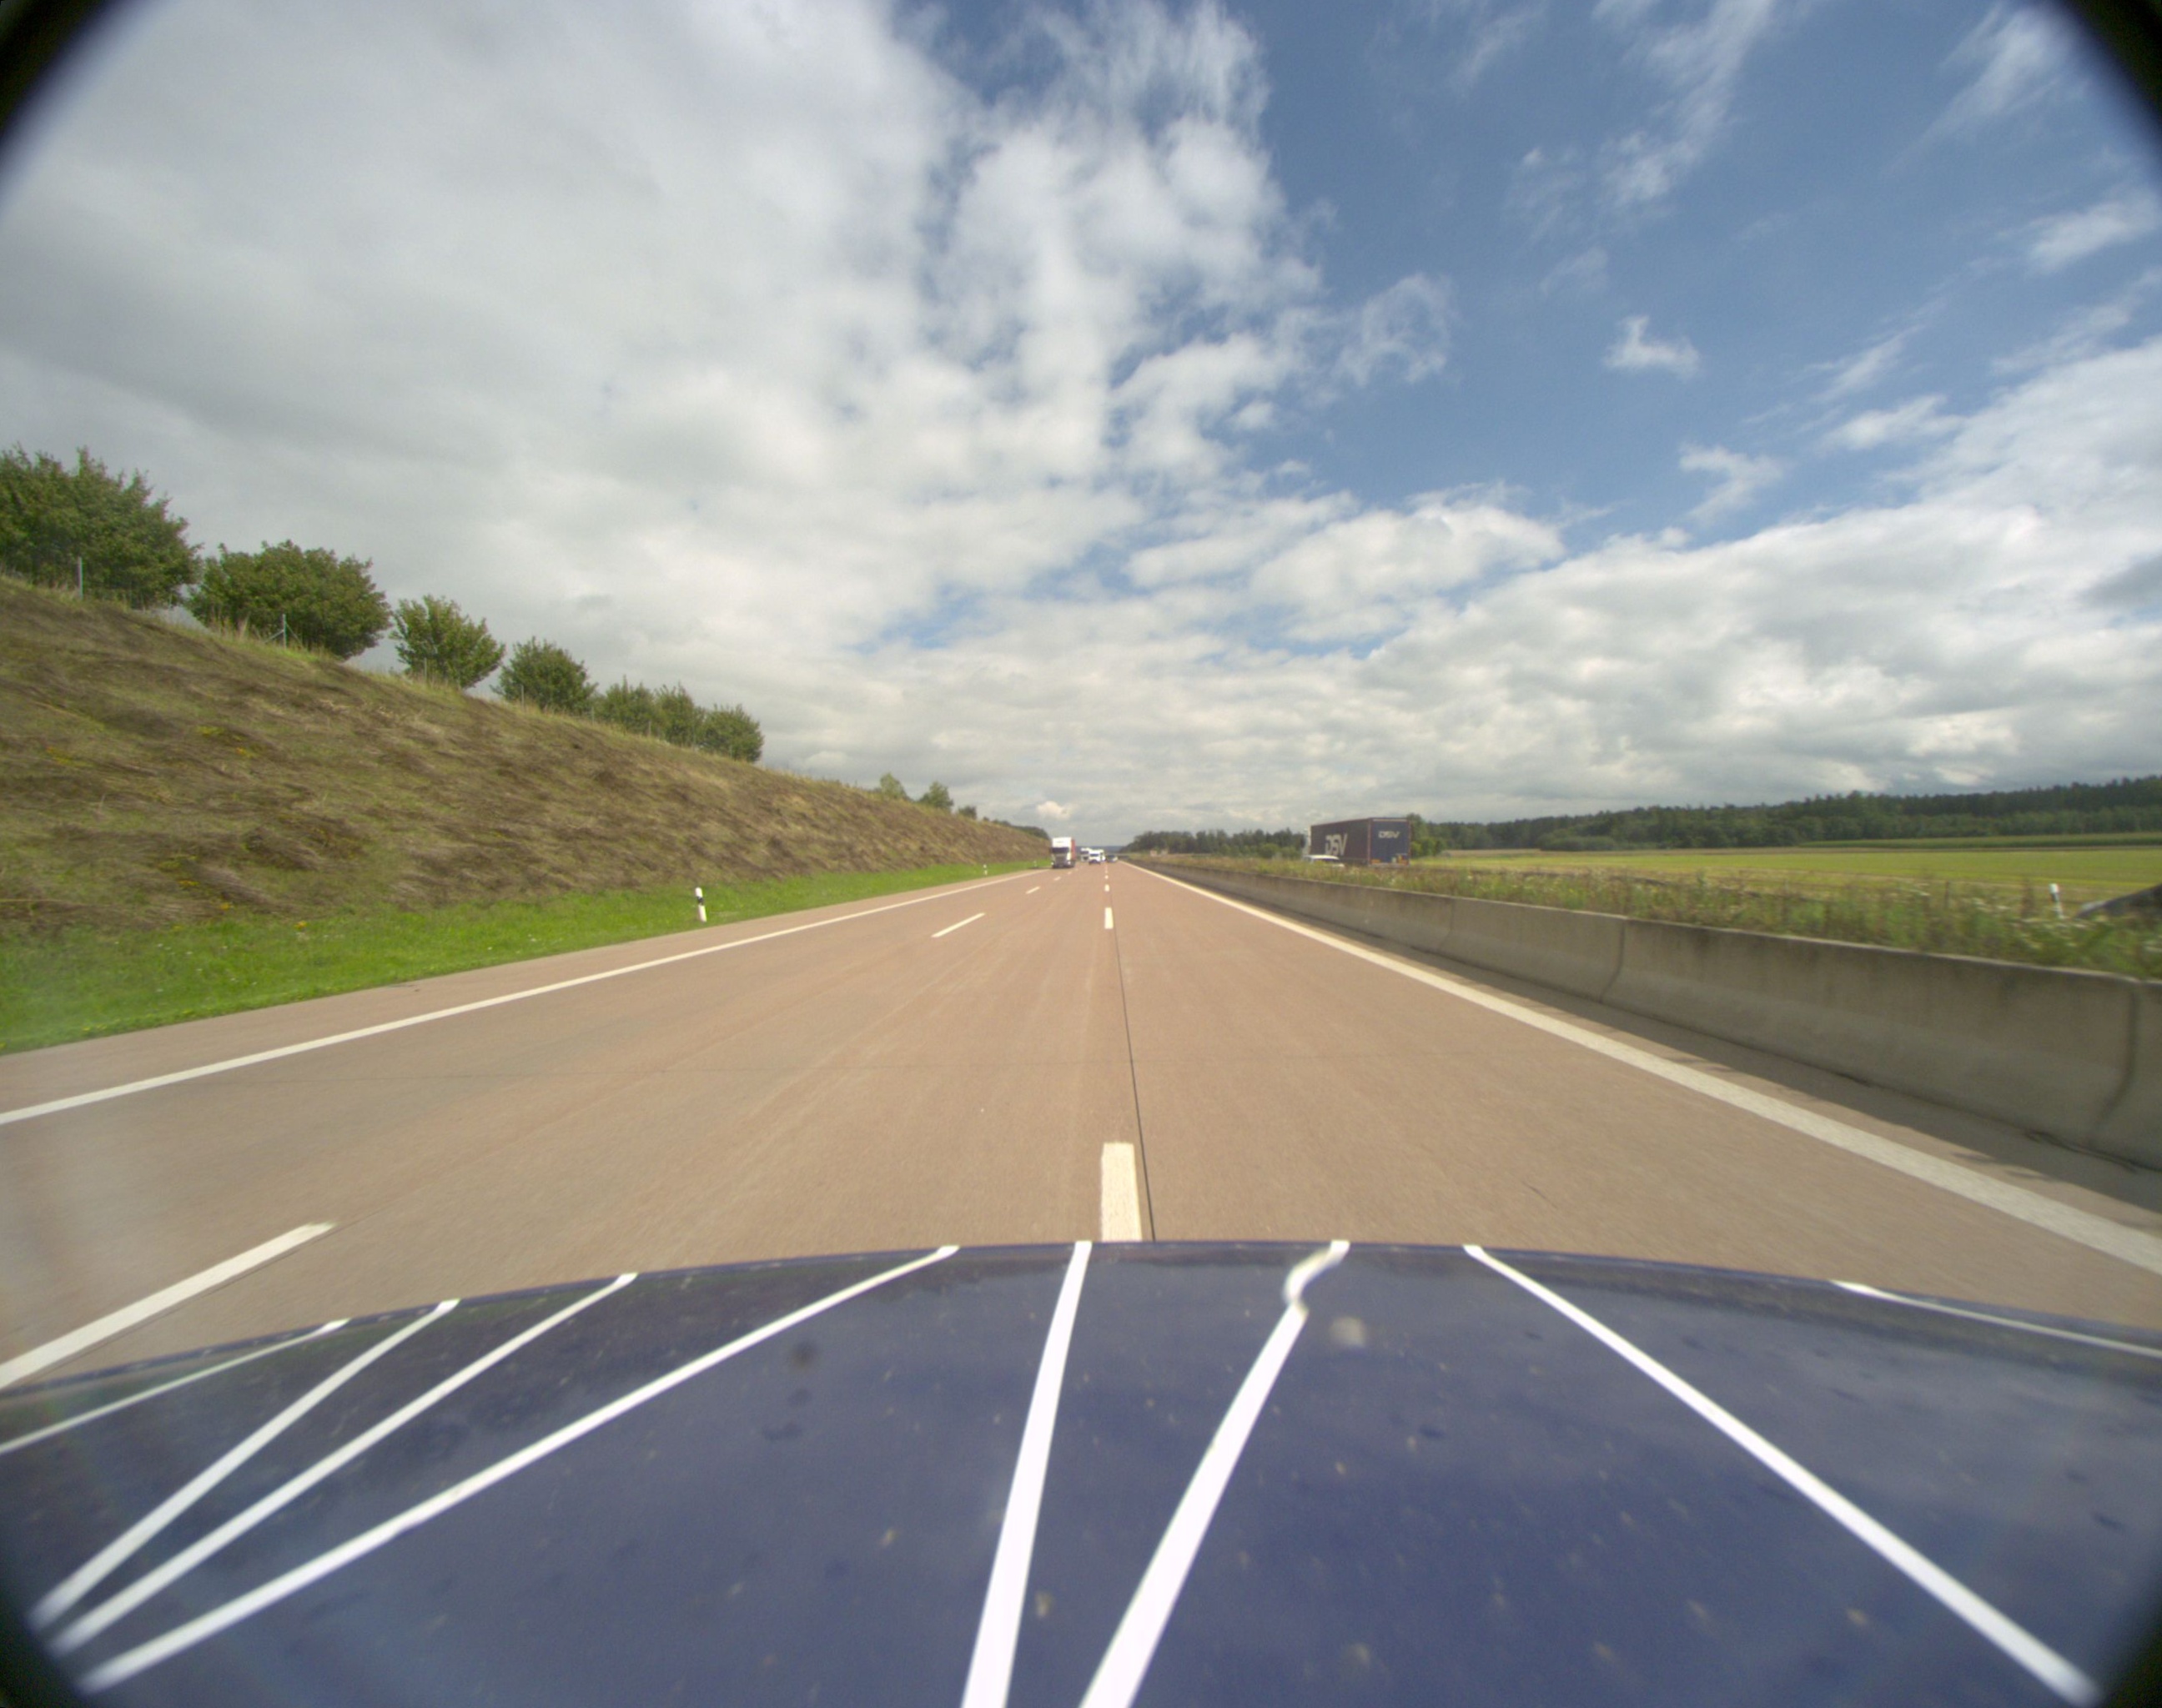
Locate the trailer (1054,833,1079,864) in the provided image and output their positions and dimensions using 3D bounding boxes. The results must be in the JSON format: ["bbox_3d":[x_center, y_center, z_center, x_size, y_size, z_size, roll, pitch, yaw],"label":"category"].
[{"bbox_3d":[-1.946,-0.702,107.913,2.678,4.069,12.790,-2,0,2],"label":"trailer"}]

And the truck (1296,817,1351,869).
[{"bbox_3d":[19.384,-0.877,61.068,2.777,3.936,5.290,-1,0,1],"label":"truck"}]

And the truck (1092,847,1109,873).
[{"bbox_3d":[3.558,0.997,134.721,2.680,4.333,11.809,-3,0,2],"label":"truck"}]

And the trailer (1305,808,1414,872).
[{"bbox_3d":[19.223,-0.887,53.926,2.777,3.936,14.331,-1,0,1],"label":"trailer"}]

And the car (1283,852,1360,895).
[{"bbox_3d":[11.549,0.853,36.955,1.998,1.898,5.884,0,1,1],"label":"car"}]

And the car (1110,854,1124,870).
[{"bbox_3d":[7.435,1.625,156.201,2.772,3.260,6.393,-3,0,3],"label":"car"}]

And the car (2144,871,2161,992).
[{"bbox_3d":[13.900,0.956,7.301,1.787,1.455,4.000,0,1,2],"label":"car"}]

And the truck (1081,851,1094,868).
[{"bbox_3d":[1.723,1.533,209.821,3.107,4.333,11.257,-3,0,2],"label":"truck"}]

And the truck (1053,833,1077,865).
[{"bbox_3d":[-2.131,-0.694,102.011,2.680,4.082,6.617,-2,0,2],"label":"truck"}]
